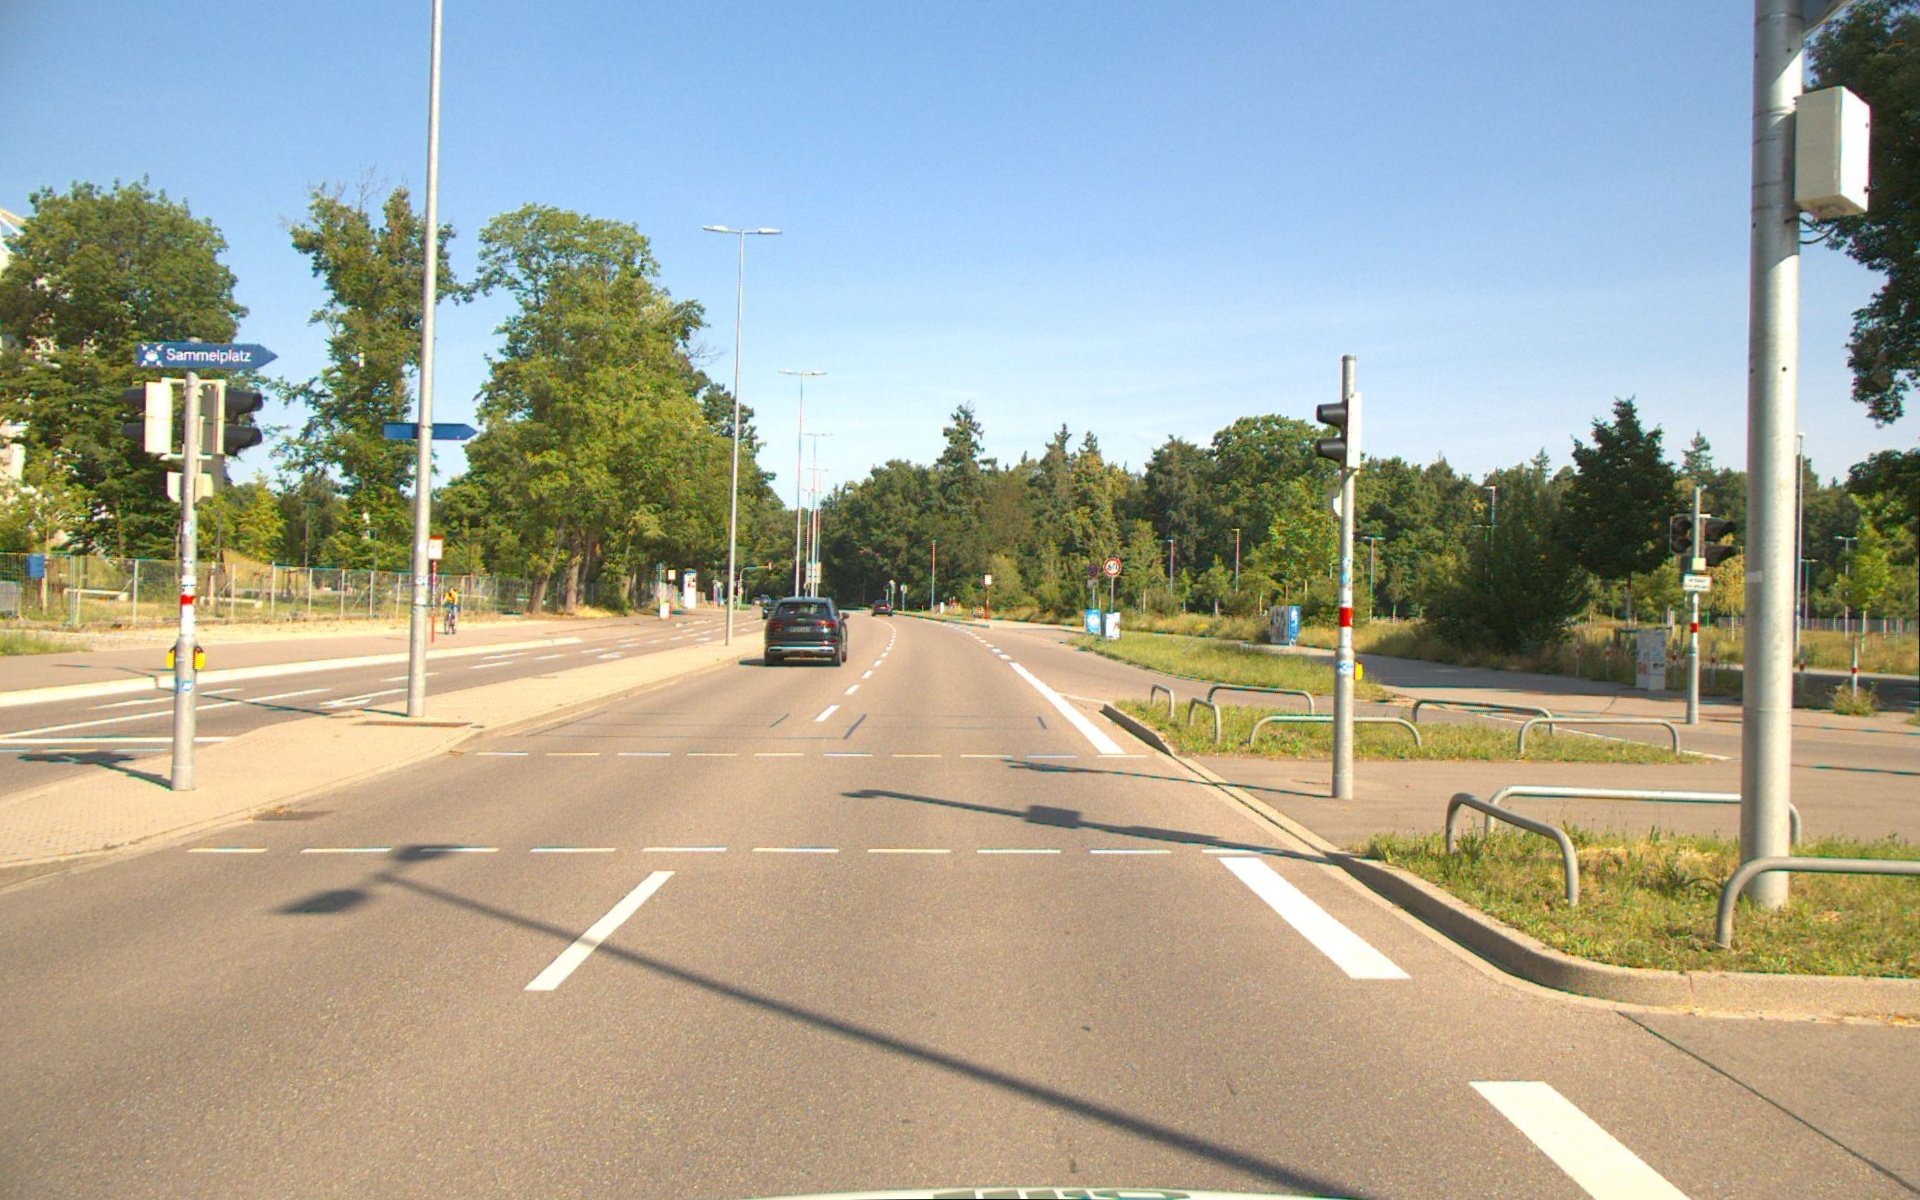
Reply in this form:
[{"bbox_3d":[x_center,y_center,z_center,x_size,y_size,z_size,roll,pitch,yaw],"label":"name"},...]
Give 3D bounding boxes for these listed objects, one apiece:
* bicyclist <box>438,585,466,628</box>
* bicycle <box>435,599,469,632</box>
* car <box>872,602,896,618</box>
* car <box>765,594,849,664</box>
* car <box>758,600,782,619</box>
[{"bbox_3d":[-18.151,0.239,59.099,0.646,1.493,1.057,2,0,-2],"label":"bicyclist"},{"bbox_3d":[-18.170,0.542,59.202,0.646,1.155,1.878,2,0,-2],"label":"bicycle"},{"bbox_3d":[-6.965,0.905,150.592,1.903,1.445,4.287,1,0,-6],"label":"car"},{"bbox_3d":[-3.602,0.653,39.543,1.653,1.571,4.148,0,0,0],"label":"car"},{"bbox_3d":[-15.071,0.753,131.364,1.776,1.412,4.156,-1,0,-6],"label":"car"}]
